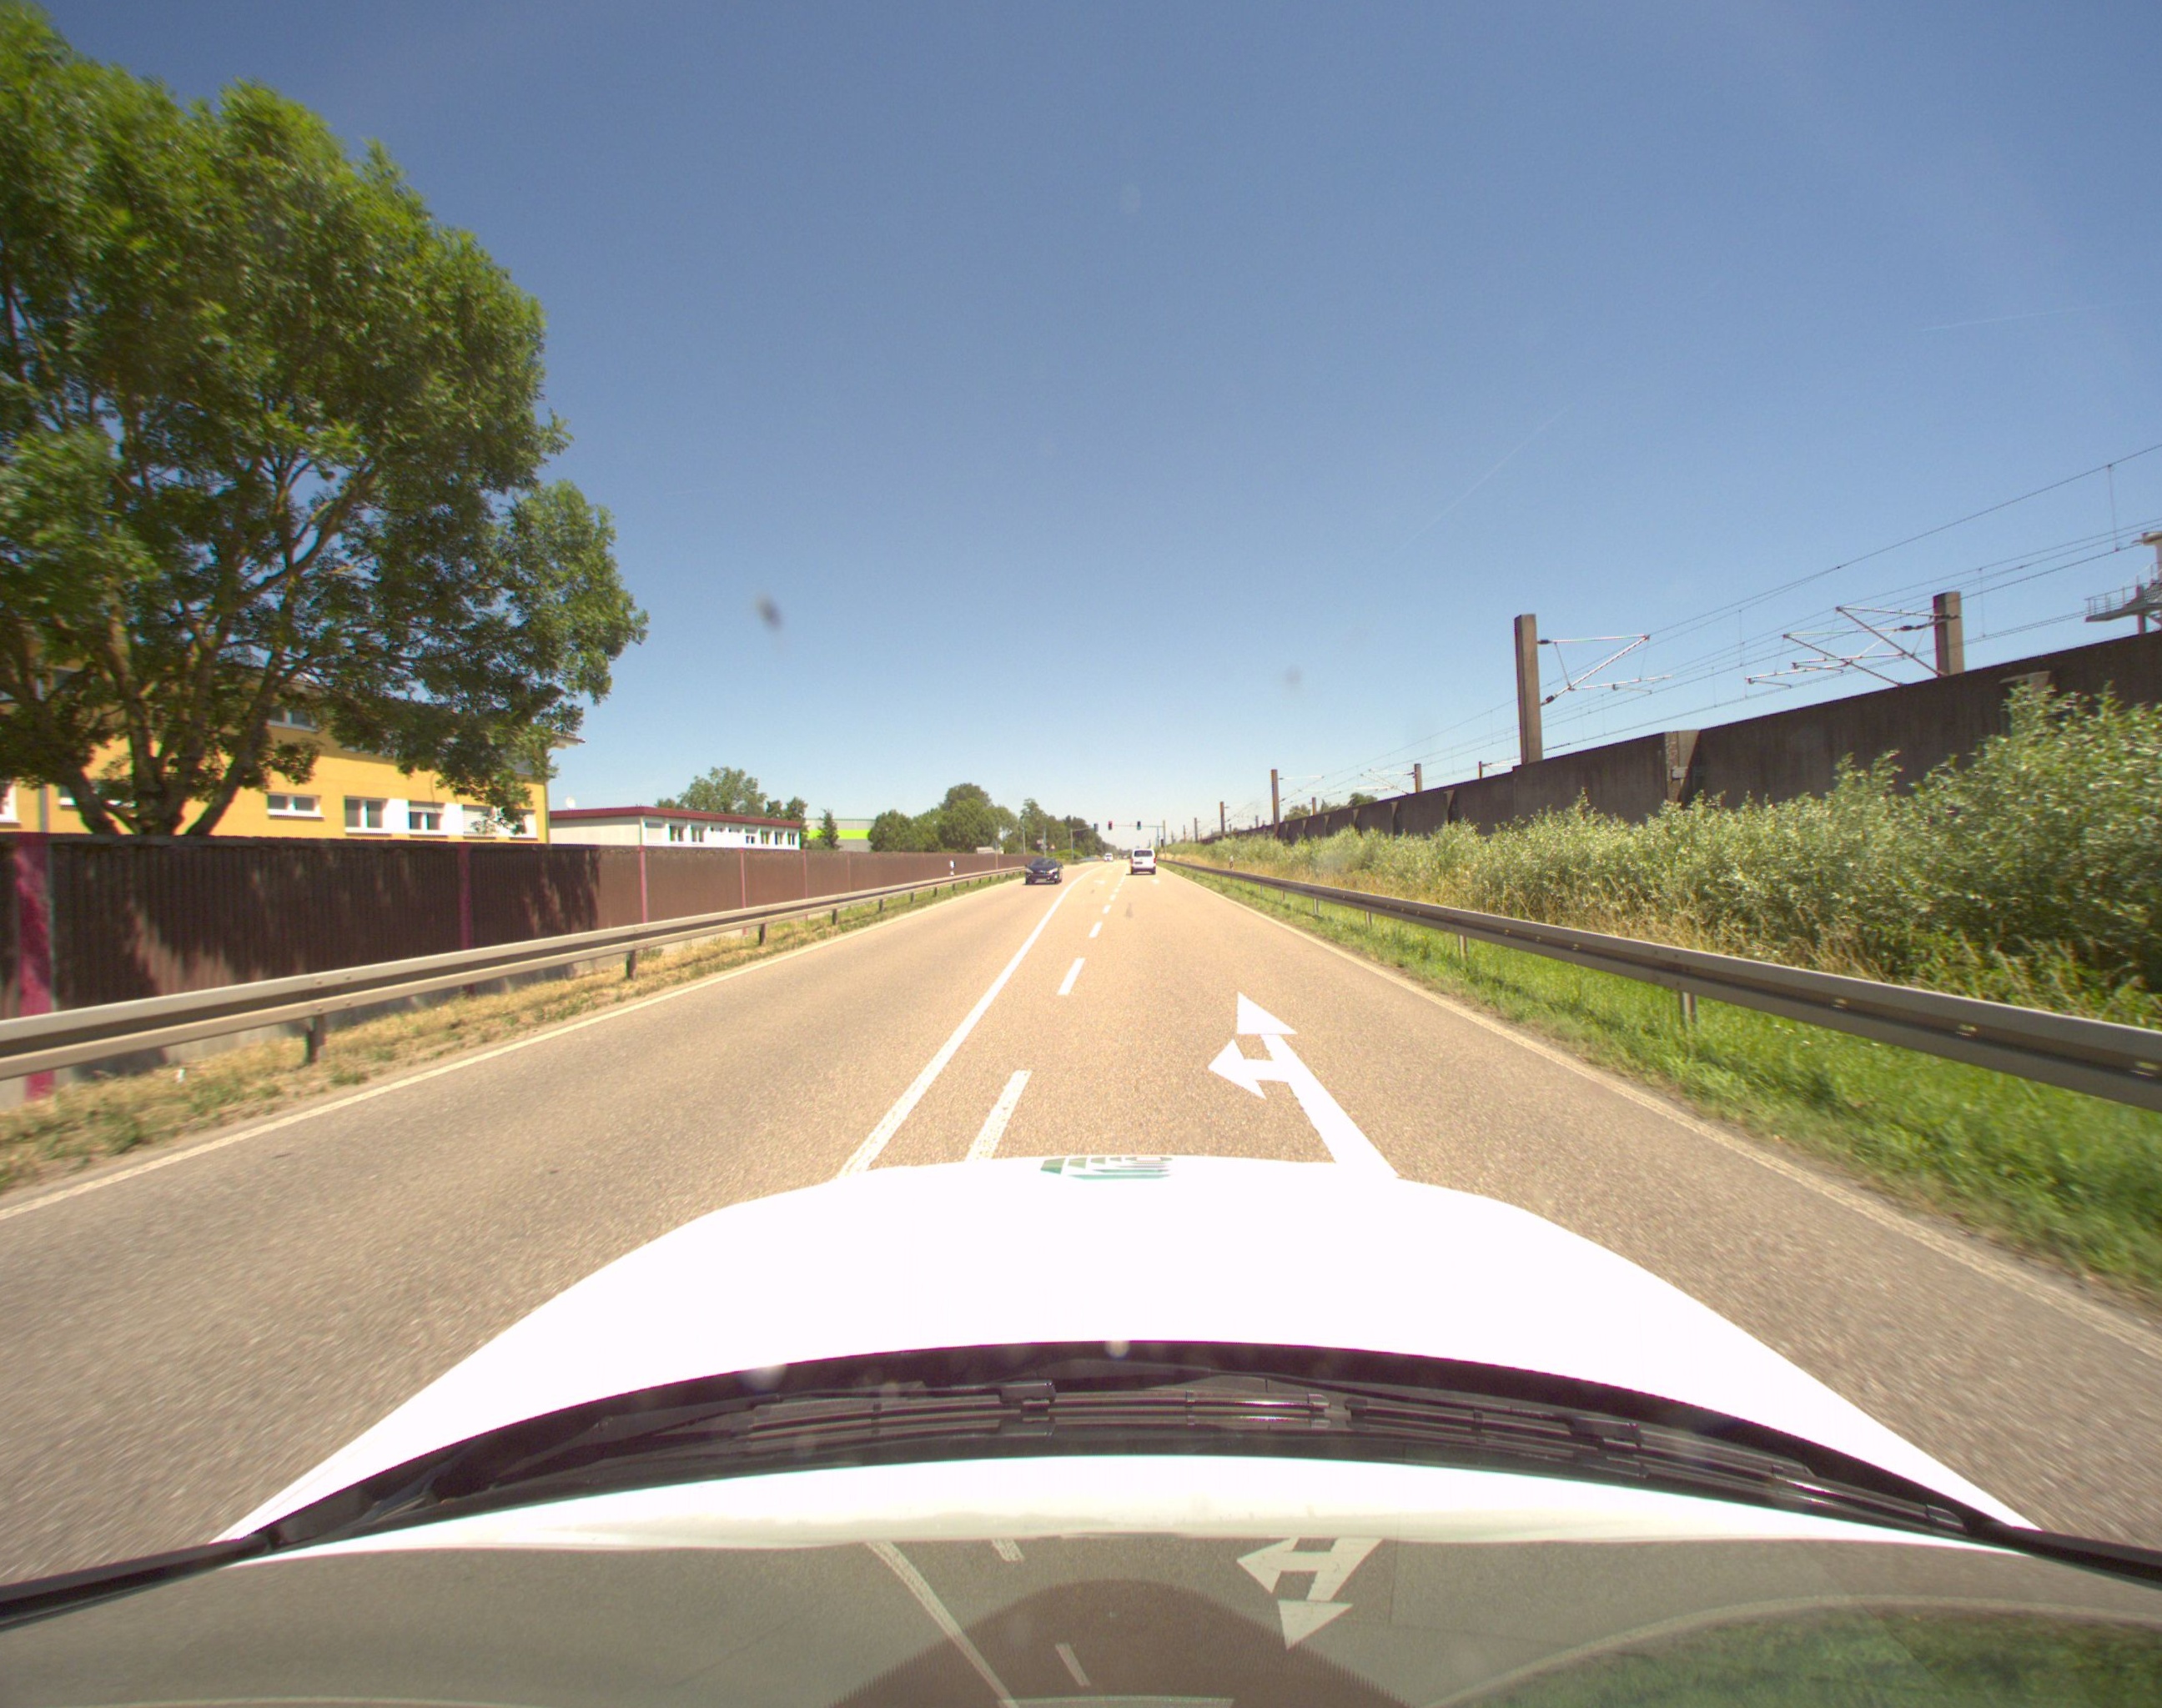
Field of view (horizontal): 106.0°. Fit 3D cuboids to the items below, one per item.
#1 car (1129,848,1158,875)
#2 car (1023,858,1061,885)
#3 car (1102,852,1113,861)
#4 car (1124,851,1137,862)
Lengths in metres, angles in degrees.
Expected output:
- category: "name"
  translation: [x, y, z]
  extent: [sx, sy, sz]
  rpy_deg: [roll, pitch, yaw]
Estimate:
- category: "car"
  translation: [4.699, 0.551, 61.620]
  extent: [1.986, 1.983, 4.062]
  rpy_deg: [-1, 0, 2]
- category: "car"
  translation: [-2.063, 0.915, 44.115]
  extent: [1.839, 1.390, 4.190]
  rpy_deg: [-1, 0, 0]
- category: "car"
  translation: [5.677, 0.563, 177.010]
  extent: [1.884, 1.740, 4.769]
  rpy_deg: [-1, 0, -4]
- category: "car"
  translation: [9.118, 0.437, 150.827]
  extent: [2.147, 1.968, 4.544]
  rpy_deg: [-1, 0, 2]
